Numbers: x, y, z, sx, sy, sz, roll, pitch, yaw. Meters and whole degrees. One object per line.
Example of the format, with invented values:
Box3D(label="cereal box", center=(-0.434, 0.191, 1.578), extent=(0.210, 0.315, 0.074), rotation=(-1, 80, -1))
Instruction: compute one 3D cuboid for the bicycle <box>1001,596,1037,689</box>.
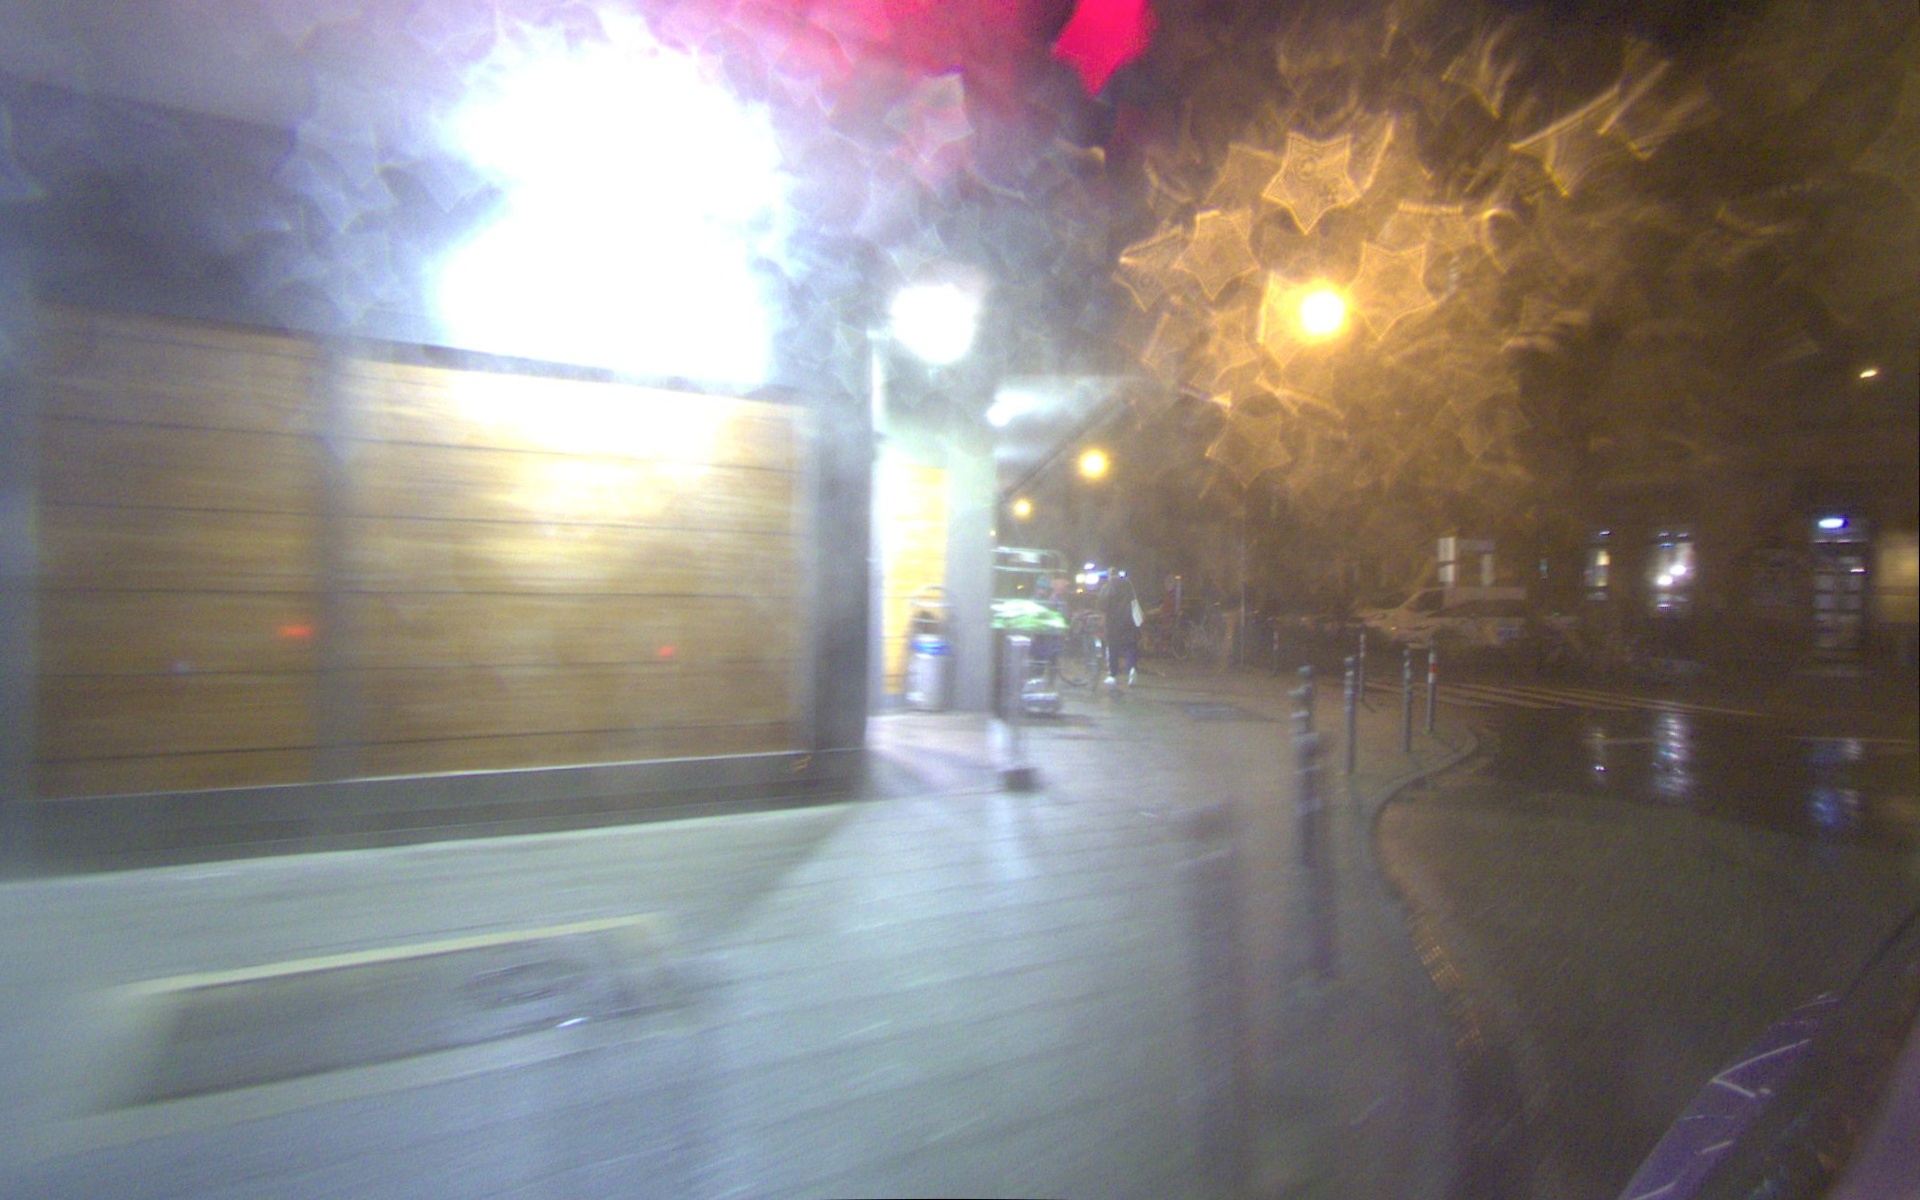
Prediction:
Box3D(label="bicycle", center=(0.785, 0.550, 13.820), extent=(0.377, 1.189, 1.647), rotation=(-2, -1, 0))

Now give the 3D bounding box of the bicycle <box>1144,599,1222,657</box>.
Box3D(label="bicycle", center=(4.835, 0.589, 22.051), extent=(0.443, 1.191, 1.967), rotation=(0, -1, -30))

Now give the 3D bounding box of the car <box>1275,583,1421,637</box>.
Box3D(label="car", center=(13.759, 0.346, 36.021), extent=(4.374, 1.785, 2.002), rotation=(1, 0, -4))

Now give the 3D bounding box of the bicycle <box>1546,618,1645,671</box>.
Box3D(label="bicycle", center=(13.003, 0.899, 20.728), extent=(1.775, 1.021, 0.404), rotation=(-2, 0, -3))

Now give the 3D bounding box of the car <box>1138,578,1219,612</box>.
Box3D(label="car", center=(11.700, -0.275, 54.355), extent=(3.925, 1.796, 1.999), rotation=(0, -1, 2))

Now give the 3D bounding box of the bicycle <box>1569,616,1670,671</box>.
Box3D(label="bicycle", center=(13.172, 0.872, 20.224), extent=(1.775, 1.021, 0.380), rotation=(2, 0, -2))

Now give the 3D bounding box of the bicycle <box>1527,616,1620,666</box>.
Box3D(label="bicycle", center=(13.409, 0.892, 22.129), extent=(1.775, 1.021, 0.404), rotation=(2, 0, -2))

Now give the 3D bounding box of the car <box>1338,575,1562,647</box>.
Box3D(label="car", center=(13.881, 0.304, 28.854), extent=(5.437, 1.914, 2.002), rotation=(1, 0, -4))

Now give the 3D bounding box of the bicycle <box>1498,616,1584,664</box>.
Box3D(label="bicycle", center=(13.347, 0.919, 23.267), extent=(1.742, 1.021, 0.404), rotation=(2, 0, -2))

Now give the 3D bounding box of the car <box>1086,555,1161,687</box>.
Box3D(label="car", center=(2.398, 0.297, 14.961), extent=(0.860, 1.864, 0.964), rotation=(2, 0, -2))

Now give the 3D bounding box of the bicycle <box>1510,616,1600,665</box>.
Box3D(label="bicycle", center=(13.330, 0.912, 22.685), extent=(1.775, 1.021, 0.404), rotation=(2, 0, -2))

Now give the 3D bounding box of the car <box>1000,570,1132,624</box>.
Box3D(label="car", center=(3.489, -0.071, 33.264), extent=(4.024, 1.684, 1.759), rotation=(0, -1, -29))

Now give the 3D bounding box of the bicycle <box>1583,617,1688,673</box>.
Box3D(label="bicycle", center=(13.171, 0.870, 19.746), extent=(1.775, 1.021, 0.404), rotation=(2, 0, -2))

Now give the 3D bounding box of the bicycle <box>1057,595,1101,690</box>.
Box3D(label="bicycle", center=(1.603, 0.537, 13.804), extent=(0.377, 1.189, 1.786), rotation=(1, 1, 0))

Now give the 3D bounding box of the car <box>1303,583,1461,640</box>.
Box3D(label="car", center=(13.881, 0.371, 33.443), extent=(4.374, 1.785, 2.002), rotation=(1, 0, -4))

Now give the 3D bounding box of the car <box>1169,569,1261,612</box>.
Box3D(label="car", center=(12.370, -0.425, 49.294), extent=(3.925, 2.040, 1.999), rotation=(0, -1, 2))

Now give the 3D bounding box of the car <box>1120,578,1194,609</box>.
Box3D(label="car", center=(11.519, -0.382, 59.365), extent=(3.925, 1.794, 1.999), rotation=(0, -1, 2))

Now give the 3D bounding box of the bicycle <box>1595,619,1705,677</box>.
Box3D(label="bicycle", center=(13.035, 0.903, 19.140), extent=(1.775, 1.021, 0.455), rotation=(2, 0, -2))

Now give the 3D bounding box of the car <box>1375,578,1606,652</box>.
Box3D(label="car", center=(13.776, 0.372, 26.454), extent=(4.995, 1.785, 2.002), rotation=(1, 0, -4))

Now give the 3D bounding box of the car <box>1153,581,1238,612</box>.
Box3D(label="car", center=(12.087, -0.179, 52.084), extent=(3.925, 1.572, 1.999), rotation=(0, -1, 2))

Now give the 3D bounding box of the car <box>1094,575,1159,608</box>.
Box3D(label="car", center=(11.130, -0.602, 67.885), extent=(3.924, 2.039, 2.000), rotation=(2, 1, 0))

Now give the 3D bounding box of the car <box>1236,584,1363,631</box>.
Box3D(label="car", center=(13.556, 0.291, 40.554), extent=(4.374, 1.785, 2.002), rotation=(1, 0, -4))

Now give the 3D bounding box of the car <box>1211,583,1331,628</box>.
Box3D(label="car", center=(13.109, 0.232, 42.799), extent=(4.374, 1.785, 2.002), rotation=(1, 0, -4))

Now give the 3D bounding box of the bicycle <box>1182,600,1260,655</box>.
Box3D(label="bicycle", center=(5.817, 0.601, 22.695), extent=(0.443, 1.191, 1.967), rotation=(0, -1, -30))

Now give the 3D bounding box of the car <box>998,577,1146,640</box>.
Box3D(label="car", center=(3.042, 0.227, 27.378), extent=(3.618, 1.598, 1.759), rotation=(0, -1, -29))

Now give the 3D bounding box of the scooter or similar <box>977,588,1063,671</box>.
Box3D(label="scooter or similar", center=(0.931, 0.456, 15.906), extent=(1.289, 1.245, 0.526), rotation=(2, -1, 2))

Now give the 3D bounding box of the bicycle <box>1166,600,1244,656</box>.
Box3D(label="bicycle", center=(5.403, 0.600, 22.416), extent=(0.443, 1.191, 1.967), rotation=(0, -1, -30))
